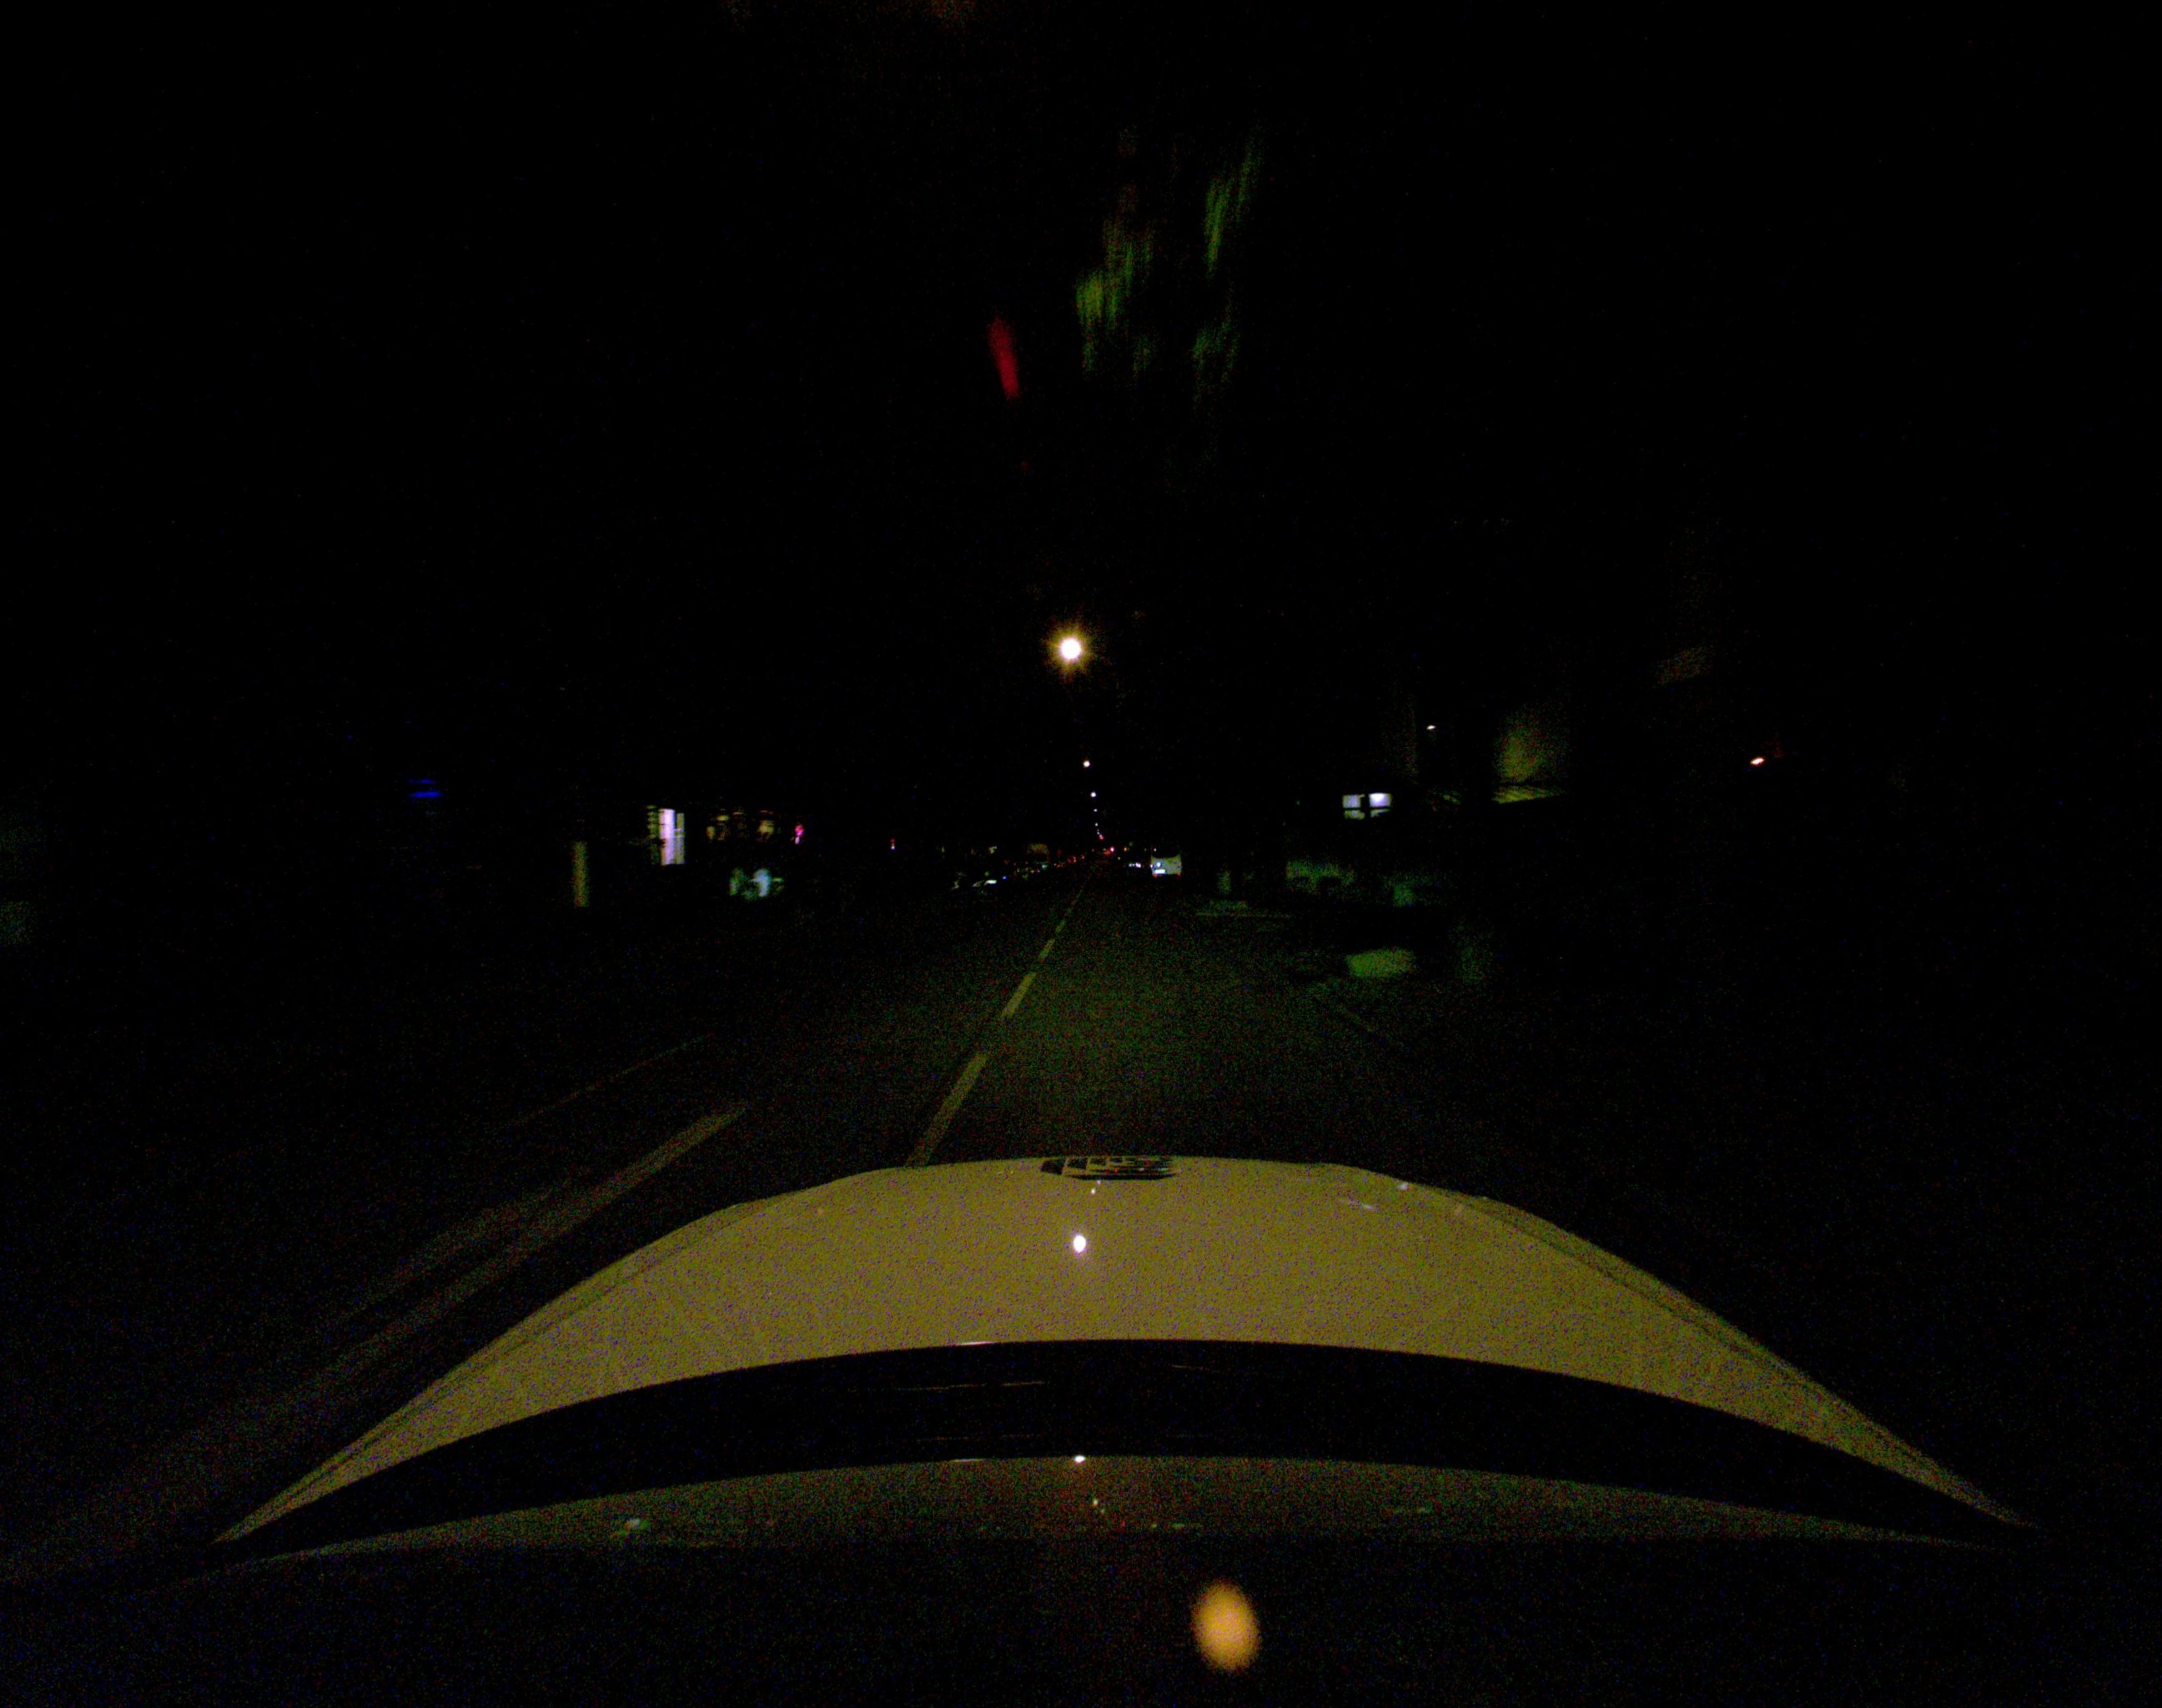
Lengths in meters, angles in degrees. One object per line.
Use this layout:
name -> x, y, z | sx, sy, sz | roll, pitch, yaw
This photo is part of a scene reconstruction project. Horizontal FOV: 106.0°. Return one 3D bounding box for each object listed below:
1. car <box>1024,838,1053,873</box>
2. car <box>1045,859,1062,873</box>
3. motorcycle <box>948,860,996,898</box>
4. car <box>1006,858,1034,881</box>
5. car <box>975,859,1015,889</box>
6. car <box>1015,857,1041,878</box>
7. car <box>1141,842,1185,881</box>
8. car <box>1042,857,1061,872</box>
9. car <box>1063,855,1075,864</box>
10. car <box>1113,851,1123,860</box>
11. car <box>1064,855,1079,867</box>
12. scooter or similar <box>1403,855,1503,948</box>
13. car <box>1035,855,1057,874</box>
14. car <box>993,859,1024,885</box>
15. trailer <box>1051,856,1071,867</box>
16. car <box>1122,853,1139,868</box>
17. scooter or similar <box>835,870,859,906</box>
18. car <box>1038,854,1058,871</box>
car -> -3.687, 0.118, 70.884 | 2.171, 2.909, 4.910 | -1, 0, 1
car -> -3.107, 1.310, 92.501 | 1.710, 1.502, 4.206 | 1, 0, 1
motorcycle -> -4.498, 1.012, 33.640 | 1.907, 1.550, 0.635 | 0, -1, -19
car -> -4.024, 1.015, 53.949 | 1.542, 1.455, 3.368 | 0, 0, 1
car -> -4.477, 1.012, 42.895 | 1.637, 1.504, 3.904 | 0, 0, 1
car -> -3.885, 1.014, 60.341 | 1.640, 1.505, 3.860 | -1, -1, 0
car -> 4.444, 0.394, 44.782 | 1.944, 1.964, 4.603 | -1, 0, 0
car -> -3.115, 1.111, 87.312 | 1.698, 1.411, 4.634 | -2, 0, 1
car -> -1.969, 0.914, 137.597 | 1.693, 1.433, 3.831 | 1, 0, 3
car -> 7.138, 0.227, 157.583 | 1.846, 1.654, 4.211 | -2, 0, 2
car -> -1.303, 0.941, 115.279 | 1.815, 1.599, 4.075 | 1, 0, 3
scooter or similar -> 5.267, 0.636, 11.655 | 0.545, 1.203, 1.911 | -2, -1, 1
car -> -3.252, 0.954, 76.007 | 1.737, 1.606, 4.114 | -4, 0, 0
car -> -4.260, 1.050, 48.201 | 1.440, 1.429, 3.904 | 1, 0, 1
trailer -> -2.431, 0.931, 100.287 | 2.102, 1.335, 5.438 | 0, 0, 3
car -> 5.323, 0.646, 86.917 | 1.661, 1.429, 4.152 | -4, 0, 4
scooter or similar -> -8.043, 1.152, 28.029 | 0.365, 1.204, 1.428 | -2, -1, 2
car -> -3.294, 0.846, 81.867 | 1.736, 1.606, 4.297 | -2, 0, 0
